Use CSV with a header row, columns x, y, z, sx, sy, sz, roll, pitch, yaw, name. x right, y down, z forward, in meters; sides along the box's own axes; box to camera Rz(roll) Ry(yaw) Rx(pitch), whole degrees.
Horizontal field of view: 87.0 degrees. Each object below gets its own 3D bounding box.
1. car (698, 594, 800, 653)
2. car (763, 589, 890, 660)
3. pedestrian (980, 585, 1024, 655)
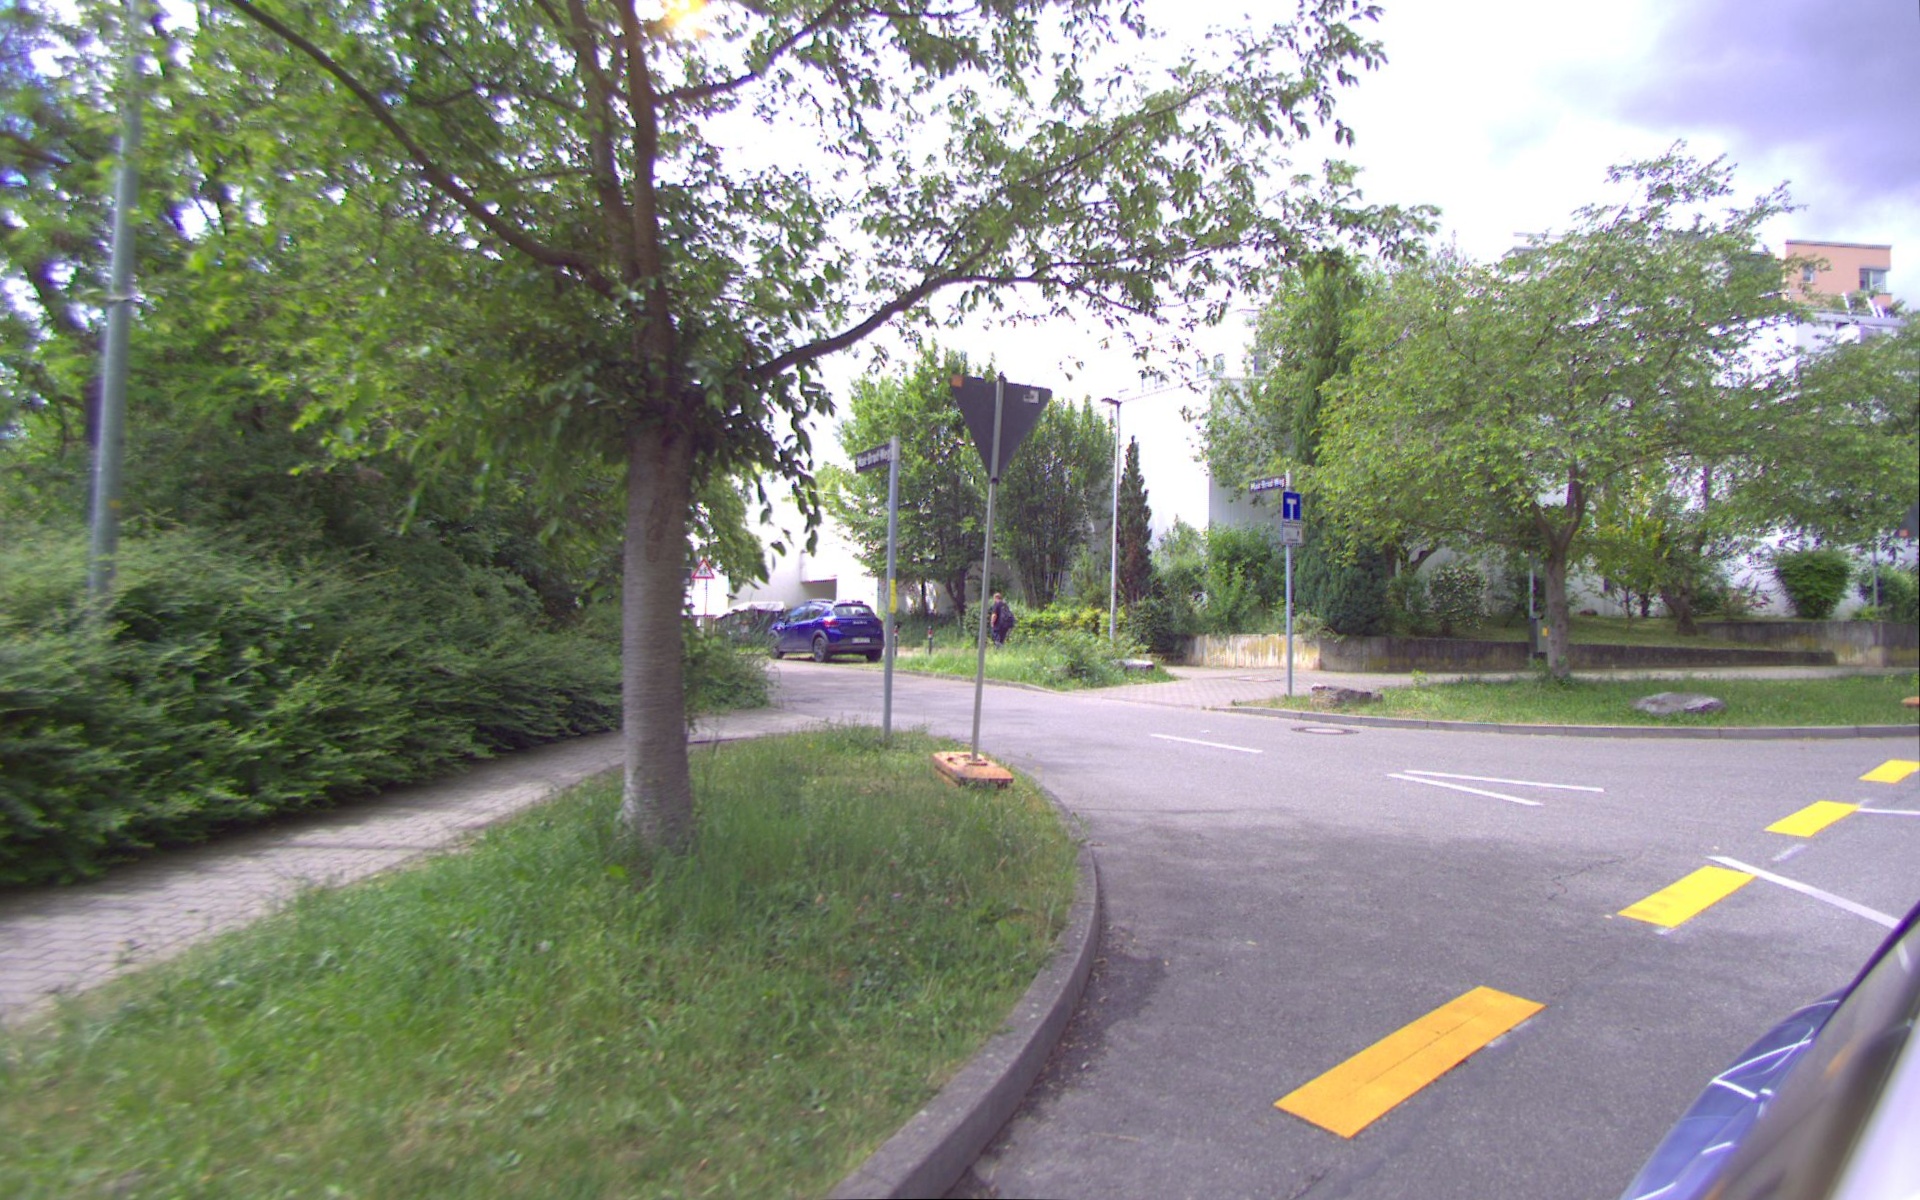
x,y,z,sx,sy,sz,roll,pitch,yaw,name
-6.565,0.684,31.197,1.695,1.683,4.001,-1,0,-33,car
-3.550,0.596,26.288,1.695,1.683,4.001,-1,0,-33,car
1.074,0.506,25.989,0.771,1.759,0.835,0,0,-34,pedestrian
